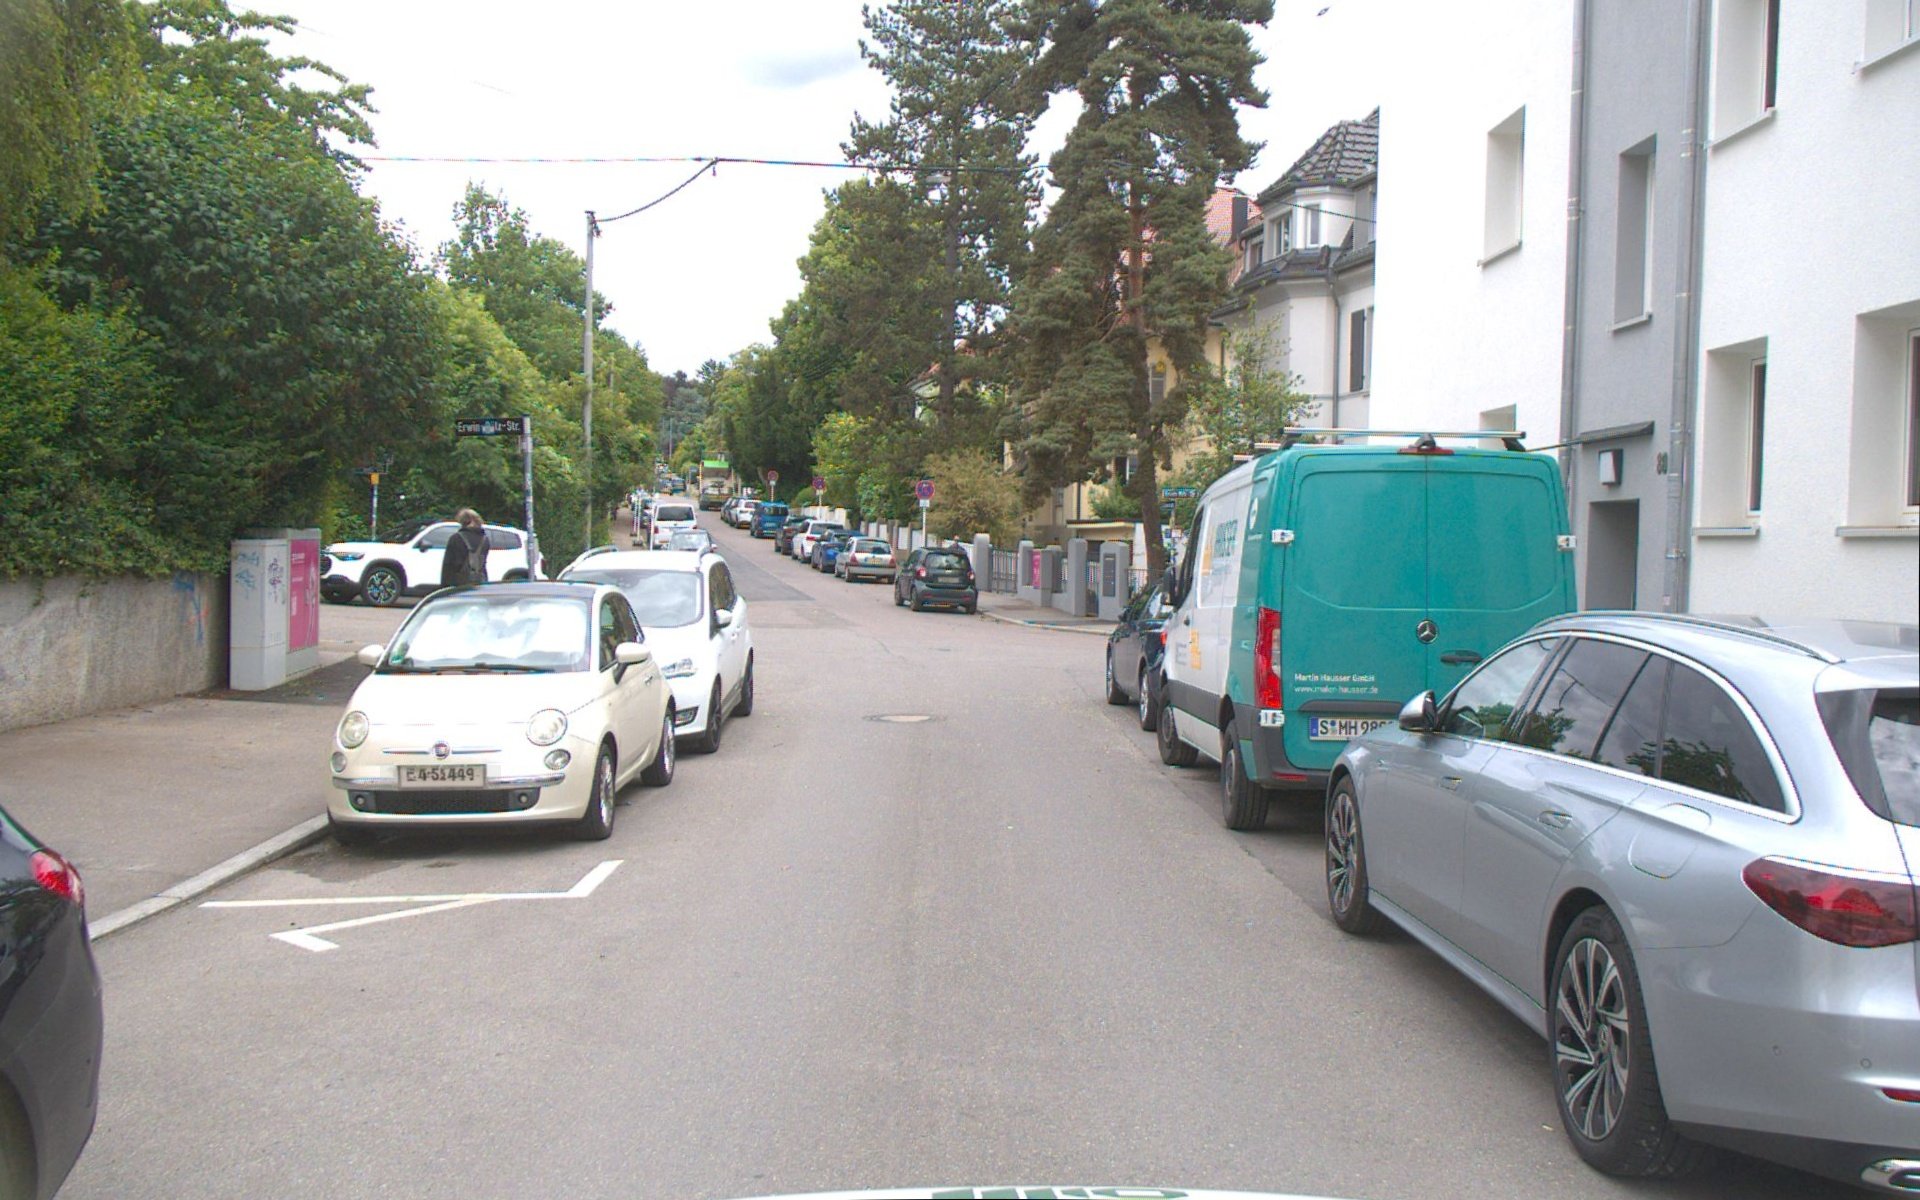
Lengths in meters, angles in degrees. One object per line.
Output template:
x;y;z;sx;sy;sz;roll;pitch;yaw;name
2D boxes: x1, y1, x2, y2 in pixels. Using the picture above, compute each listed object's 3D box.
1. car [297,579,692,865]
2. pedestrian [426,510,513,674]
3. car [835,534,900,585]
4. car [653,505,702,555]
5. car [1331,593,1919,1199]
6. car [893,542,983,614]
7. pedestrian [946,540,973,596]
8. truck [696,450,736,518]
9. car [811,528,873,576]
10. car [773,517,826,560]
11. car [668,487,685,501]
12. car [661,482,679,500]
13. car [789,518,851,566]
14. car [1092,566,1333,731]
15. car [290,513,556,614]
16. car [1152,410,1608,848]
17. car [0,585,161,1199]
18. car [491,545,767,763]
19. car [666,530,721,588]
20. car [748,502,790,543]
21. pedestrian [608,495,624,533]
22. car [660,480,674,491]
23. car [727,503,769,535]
-2.822;0.641;10.802;1.574;1.478;3.613;-2;1;-1;car
-5.543;-0.096;18.724;0.805;1.790;0.642;2;2;-10;pedestrian
-3.036;-1.339;53.605;1.546;1.424;3.646;2;3;-12;car
-11.896;-2.993;69.516;1.822;1.946;4.608;-2;4;-12;car
2.641;0.747;5.531;1.787;1.470;4.383;2;0;0;car
-0.595;-0.574;41.595;1.545;1.558;2.858;3;3;-15;car
-0.018;-0.948;48.458;0.668;1.604;0.905;-1;2;-6;pedestrian
-18.492;-8.760;124.857;2.480;4.829;7.171;2;4;-12;truck
-4.180;-1.721;58.235;1.618;1.483;4.041;2;3;-12;car
-6.889;-2.645;70.517;1.719;1.635;4.065;3;3;-12;car
-33.026;-12.346;192.808;1.748;1.514;3.989;1;4;-13;car
-30.116;-11.290;171.567;1.605;1.730;3.485;1;5;-13;car
-5.533;-2.286;64.773;1.754;1.630;4.292;2;4;-13;car
2.602;0.426;18.079;1.782;1.511;4.285;1;2;-3;car
-10.121;-0.661;31.458;1.802;1.684;4.488;5;2;41;car
2.688;0.141;12.017;1.953;2.464;5.293;0;1;0;car
-2.587;0.734;1.412;1.766;1.506;4.328;0;0;-1;car
-2.856;0.362;15.153;1.768;1.688;4.151;0;2;-1;car
-8.110;-1.275;50.483;1.414;1.578;2.768;-2;4;-5;car
-9.785;-3.988;84.543;1.653;1.860;4.146;3;4;-13;car
-19.306;-4.833;92.874;0.797;2.048;0.858;1;4;-12;pedestrian
-41.673;-16.351;235.209;1.779;1.358;3.623;2;5;-13;car
-12.190;-4.685;94.979;1.729;1.633;4.558;1;4;-16;car
